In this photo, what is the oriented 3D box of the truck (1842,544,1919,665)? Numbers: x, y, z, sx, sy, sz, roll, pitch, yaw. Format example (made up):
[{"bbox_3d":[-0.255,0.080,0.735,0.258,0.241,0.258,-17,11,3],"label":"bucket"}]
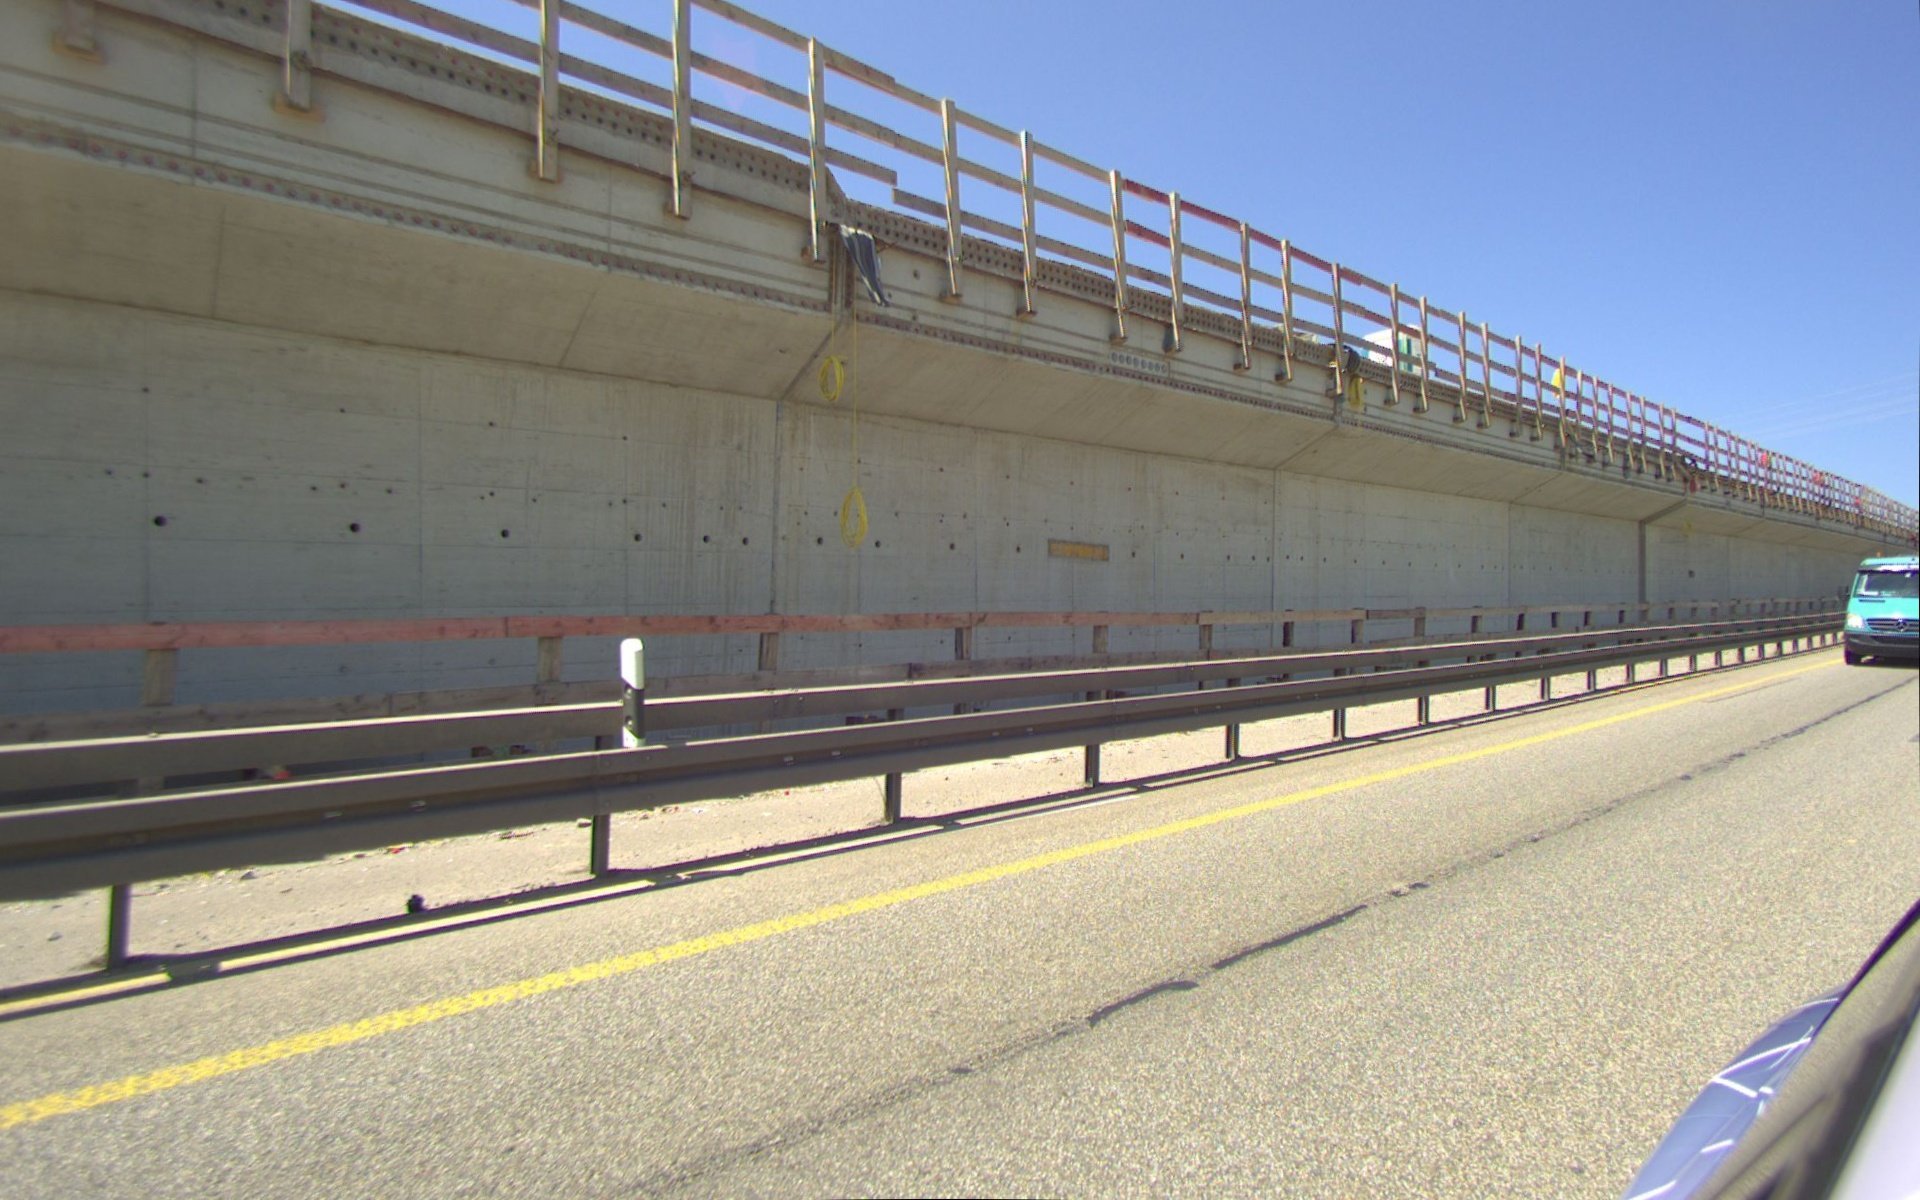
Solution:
[{"bbox_3d":[21.619,-0.004,22.384,7.303,2.386,2.138,-2,1,-41],"label":"truck"}]
